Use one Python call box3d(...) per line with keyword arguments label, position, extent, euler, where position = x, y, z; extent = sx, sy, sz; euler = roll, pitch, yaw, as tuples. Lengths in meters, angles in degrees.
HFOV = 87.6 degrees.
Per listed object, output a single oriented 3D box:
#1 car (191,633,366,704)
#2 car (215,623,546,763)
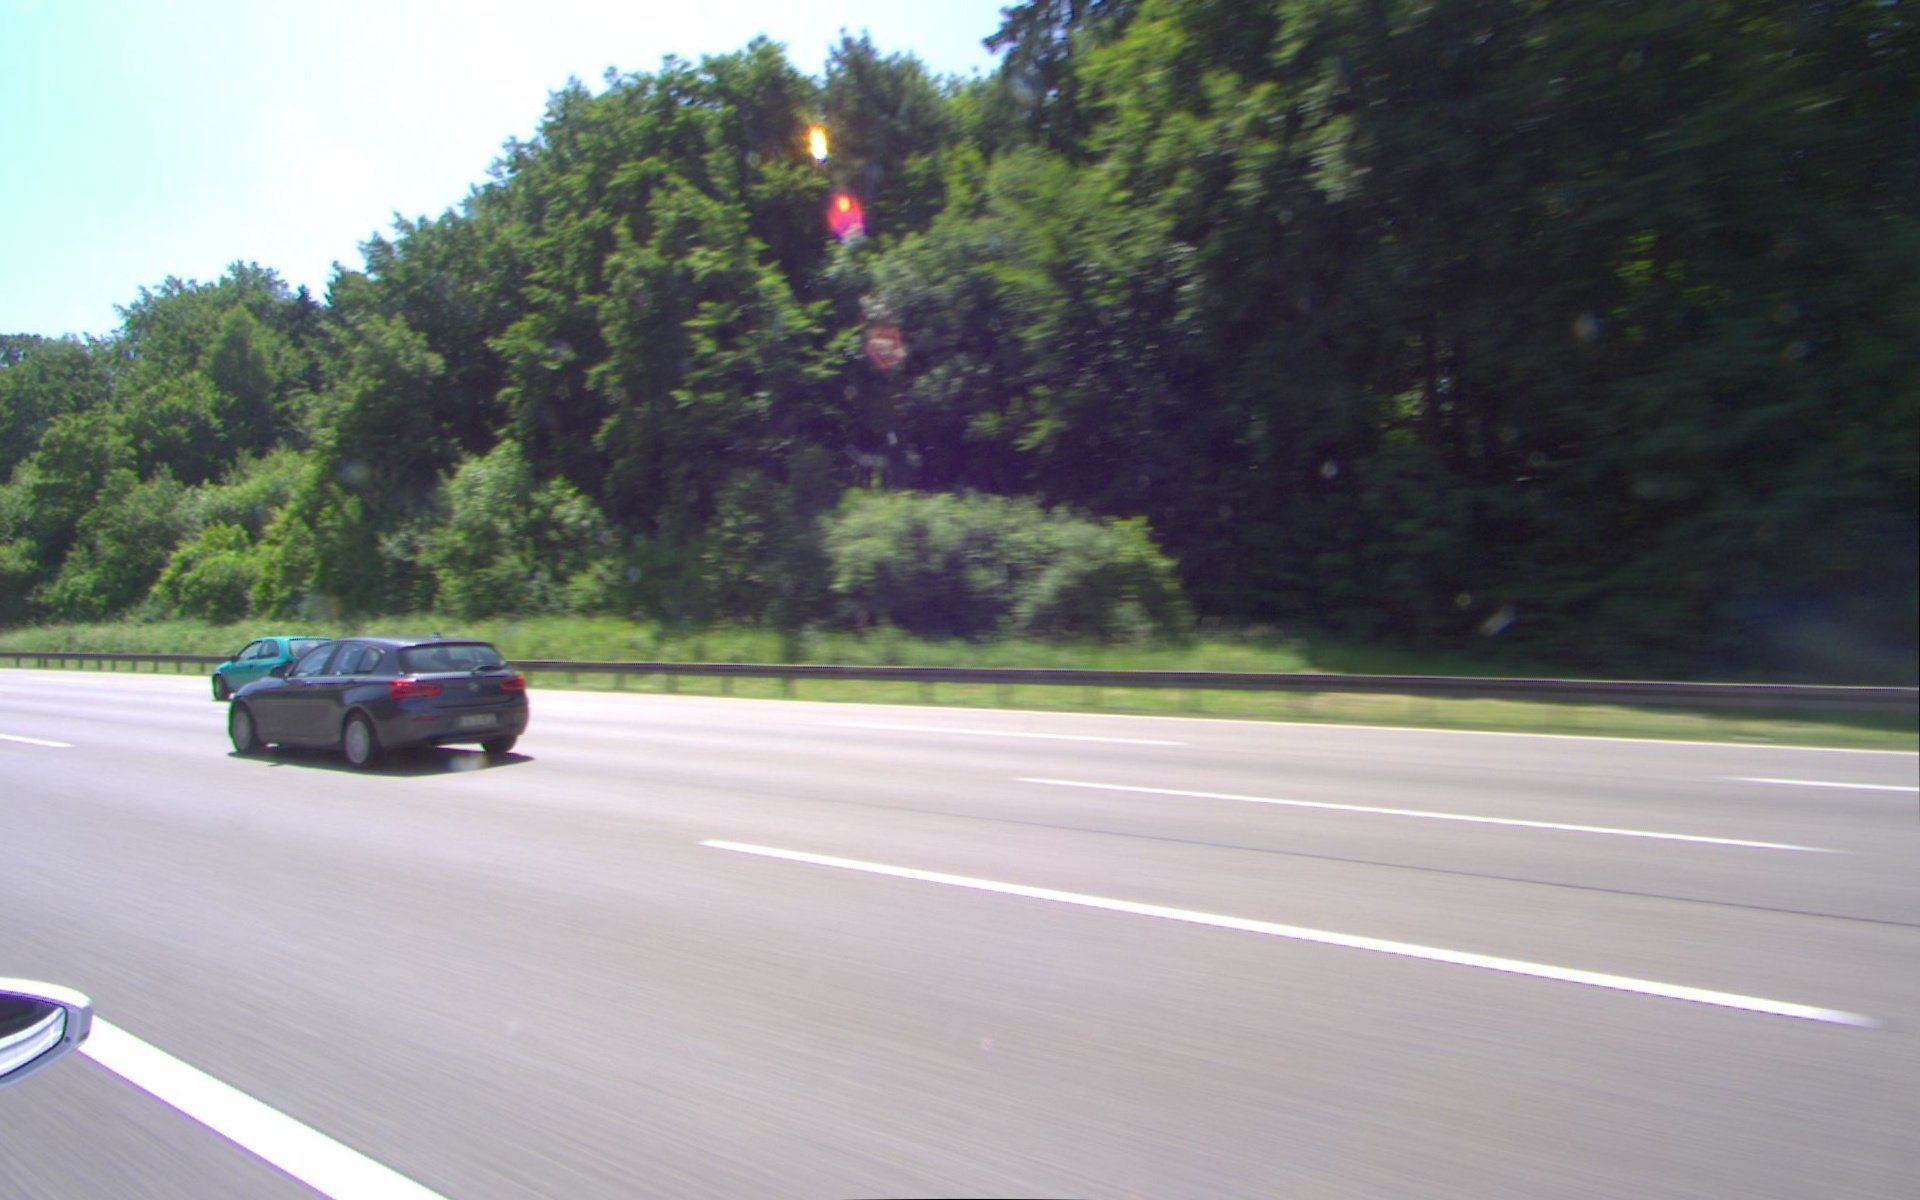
box3d(label="car", position=(-15.424, 1.492, 22.604), extent=(4.275, 1.462, 1.543), euler=(-1, -2, 29))
box3d(label="car", position=(-6.960, 0.997, 11.932), extent=(4.094, 1.414, 1.699), euler=(-1, -2, 32))
